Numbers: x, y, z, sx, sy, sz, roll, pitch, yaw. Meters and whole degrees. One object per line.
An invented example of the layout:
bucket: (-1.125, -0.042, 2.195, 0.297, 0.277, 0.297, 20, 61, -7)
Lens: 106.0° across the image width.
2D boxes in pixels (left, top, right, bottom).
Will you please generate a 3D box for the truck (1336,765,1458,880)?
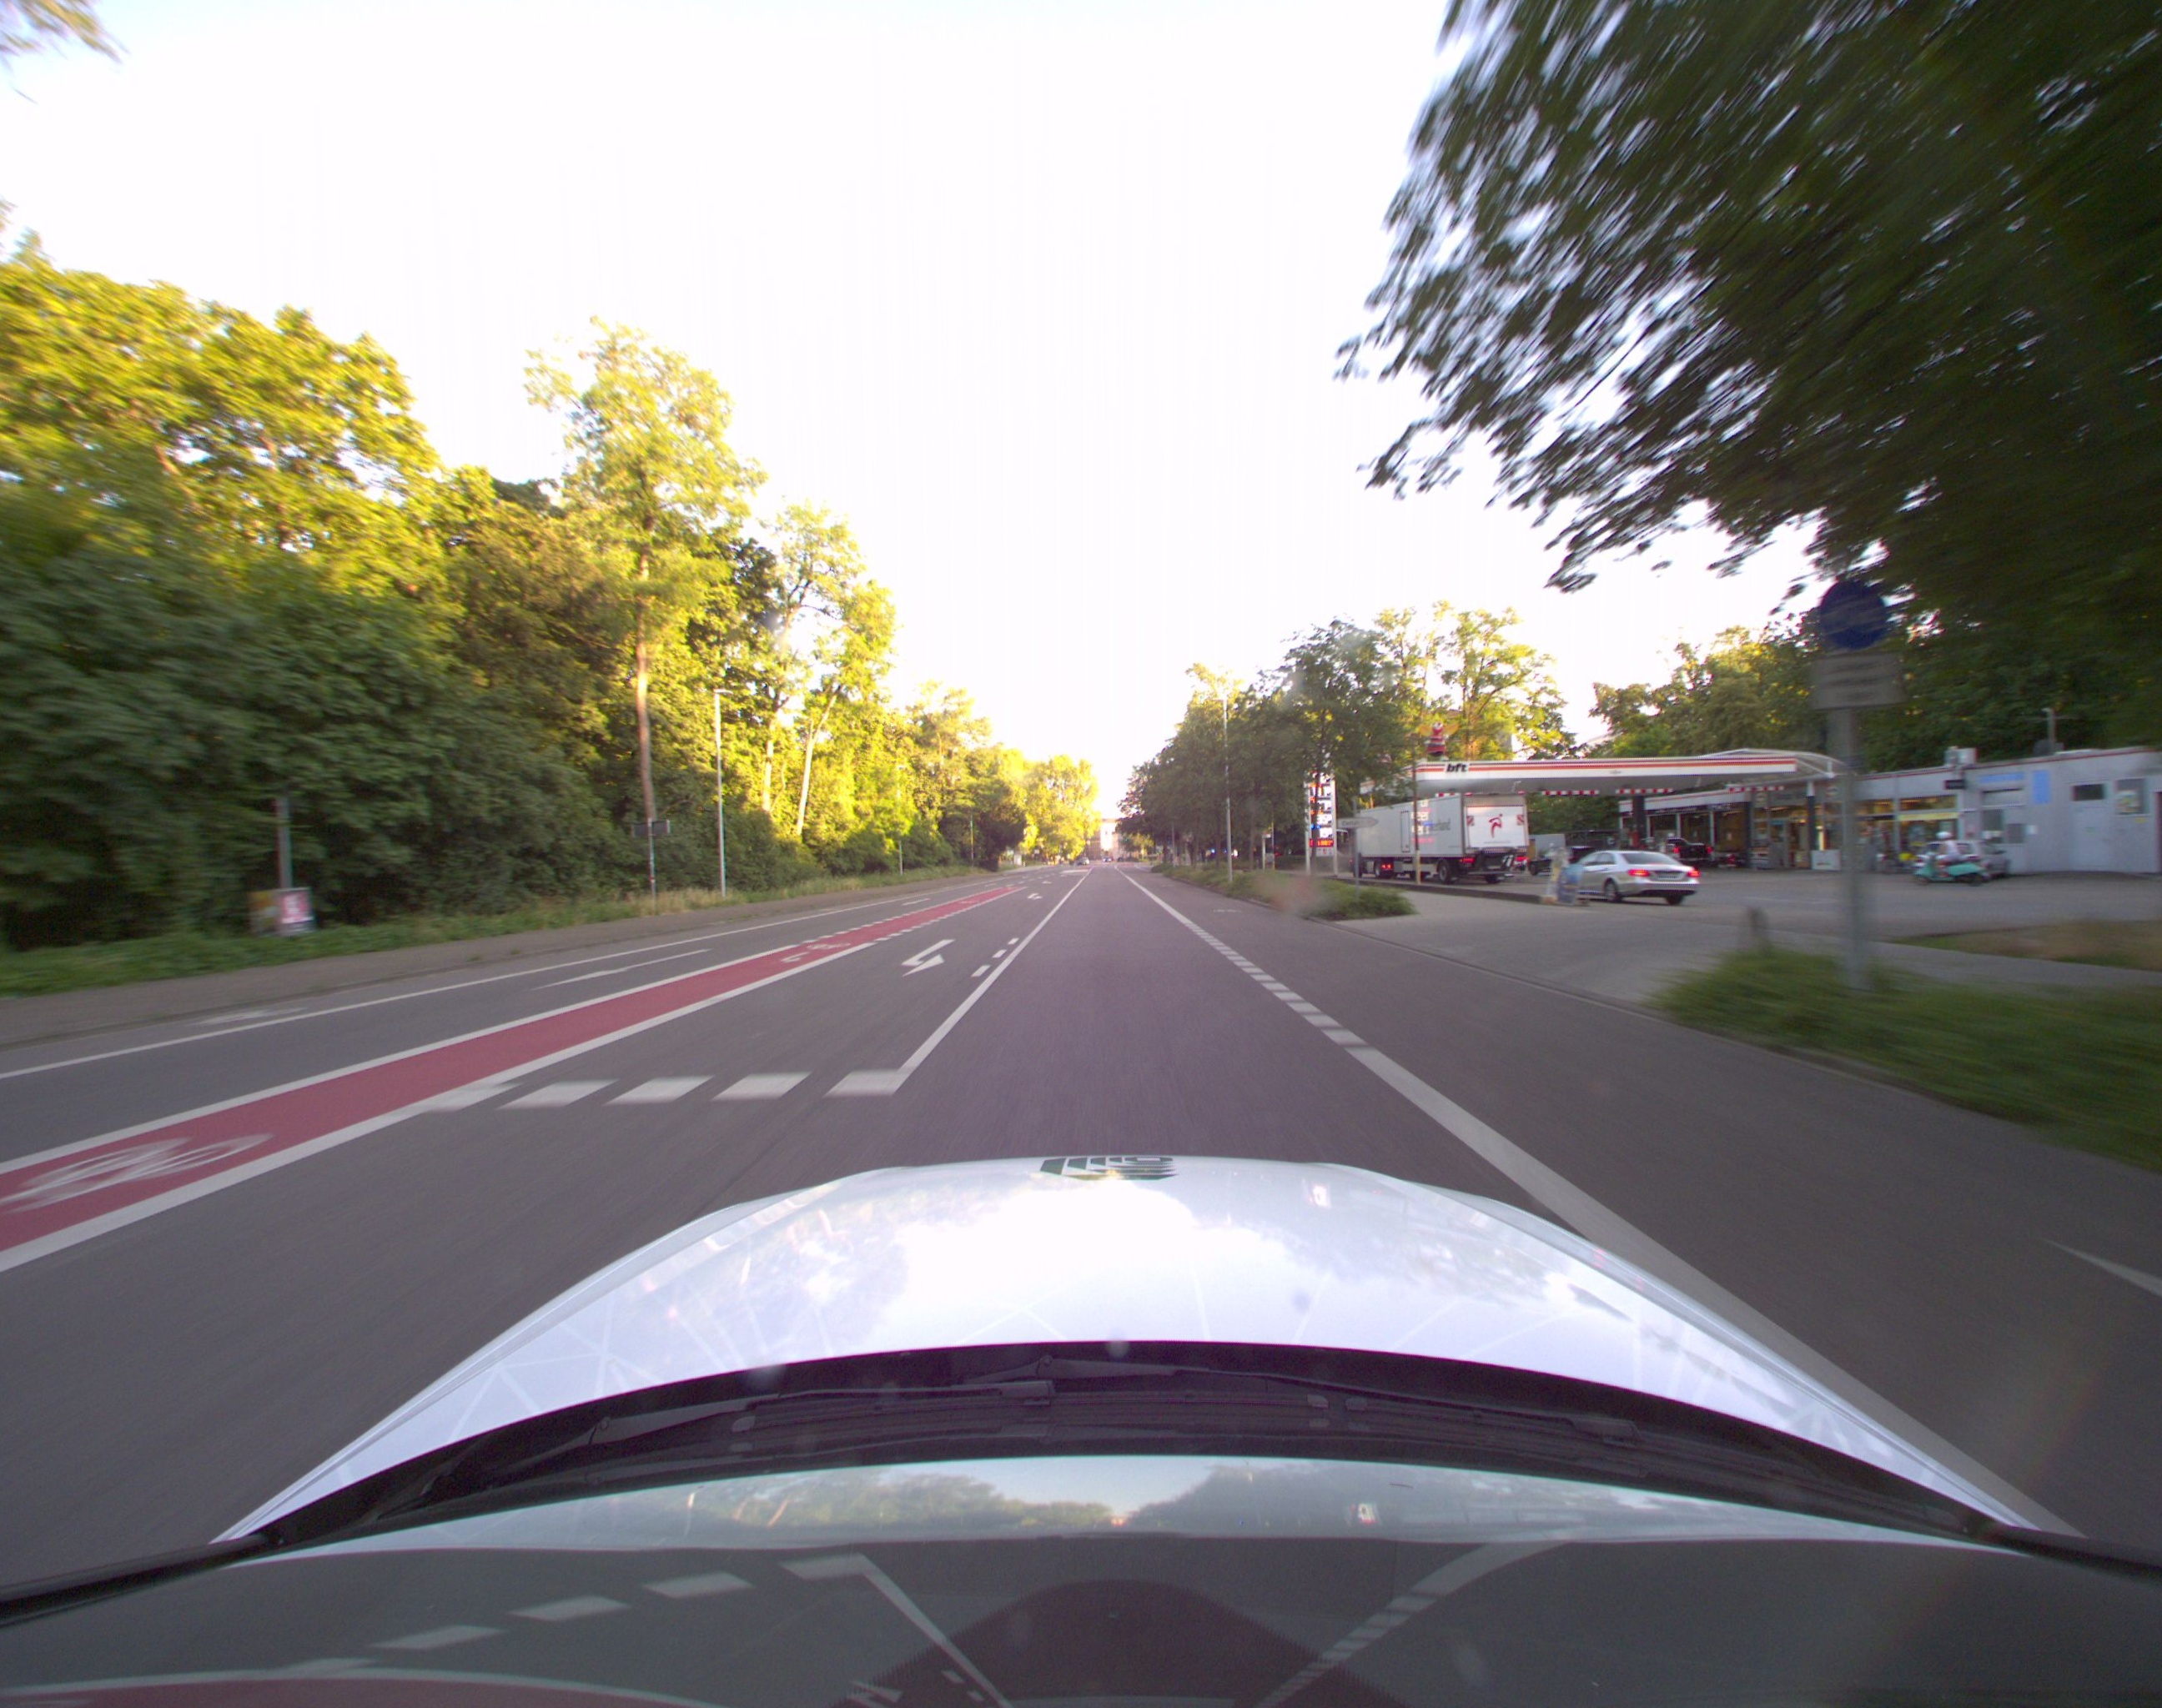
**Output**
truck: (16.531, -1.531, 43.421, 3.024, 5.455, 8.405, -1, 0, -1)

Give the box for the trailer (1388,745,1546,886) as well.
trailer: (16.664, -1.526, 35.974, 3.012, 5.462, 7.930, -1, 0, -1)

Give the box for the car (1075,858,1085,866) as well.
car: (-0.170, 1.572, 160.293, 1.790, 1.453, 4.131, -2, 0, 4)

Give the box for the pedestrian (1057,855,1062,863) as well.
pedestrian: (-4.640, 1.091, 174.413, 0.786, 1.580, 0.748, 0, 0, 10)

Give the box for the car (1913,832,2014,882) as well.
car: (30.794, 0.078, 28.387, 4.148, 1.522, 1.656, -3, -1, -33)

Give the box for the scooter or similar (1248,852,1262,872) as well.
scooter or similar: (11.527, 0.541, 53.985, 0.595, 1.282, 1.469, -2, 0, 2)

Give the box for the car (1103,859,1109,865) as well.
car: (6.805, 2.119, 220.440, 1.487, 1.486, 3.492, -2, 0, 2)

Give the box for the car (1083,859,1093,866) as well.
car: (1.588, 1.773, 178.495, 1.790, 1.453, 4.131, -2, 0, 4)

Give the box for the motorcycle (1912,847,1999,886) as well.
motorcycle: (28.181, 0.399, 26.284, 0.622, 1.179, 1.857, -2, 0, -9)

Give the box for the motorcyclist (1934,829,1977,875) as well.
motorcyclist: (28.176, -0.062, 26.254, 0.609, 1.435, 0.695, -1, -1, -10)

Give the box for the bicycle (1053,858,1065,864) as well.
bicycle: (-4.791, 1.490, 174.447, 2.447, 1.195, 0.759, -2, -1, 11)

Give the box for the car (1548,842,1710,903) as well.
car: (15.530, 0.485, 23.436, 1.761, 1.583, 4.826, 0, 0, 5)

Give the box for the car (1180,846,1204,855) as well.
car: (21.282, -0.628, 155.933, 4.433, 1.590, 1.720, -2, -1, 9)

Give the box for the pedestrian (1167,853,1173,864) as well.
pedestrian: (14.368, 0.789, 131.675, 0.766, 1.740, 0.732, -2, -1, 2)

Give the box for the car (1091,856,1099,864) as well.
car: (2.979, 1.289, 174.966, 1.487, 1.486, 3.492, -2, 0, 2)

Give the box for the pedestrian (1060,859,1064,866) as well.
pedestrian: (-4.178, 1.888, 181.013, 0.786, 1.580, 0.748, 0, 0, 10)

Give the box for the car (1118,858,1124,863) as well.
car: (11.318, 1.898, 230.223, 1.487, 1.486, 3.492, -2, 0, 2)

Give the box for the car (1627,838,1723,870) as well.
car: (31.023, 0.019, 42.720, 1.978, 1.583, 4.628, 0, 0, 5)

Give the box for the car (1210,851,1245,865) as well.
car: (21.412, 0.582, 119.320, 4.882, 1.990, 1.927, -2, -1, 9)

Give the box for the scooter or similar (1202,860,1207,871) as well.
scooter or similar: (12.370, 1.142, 81.373, 0.309, 1.041, 0.981, -2, 0, 2)

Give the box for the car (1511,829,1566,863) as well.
car: (33.086, -0.568, 59.011, 1.761, 2.347, 4.628, 0, 0, 5)
